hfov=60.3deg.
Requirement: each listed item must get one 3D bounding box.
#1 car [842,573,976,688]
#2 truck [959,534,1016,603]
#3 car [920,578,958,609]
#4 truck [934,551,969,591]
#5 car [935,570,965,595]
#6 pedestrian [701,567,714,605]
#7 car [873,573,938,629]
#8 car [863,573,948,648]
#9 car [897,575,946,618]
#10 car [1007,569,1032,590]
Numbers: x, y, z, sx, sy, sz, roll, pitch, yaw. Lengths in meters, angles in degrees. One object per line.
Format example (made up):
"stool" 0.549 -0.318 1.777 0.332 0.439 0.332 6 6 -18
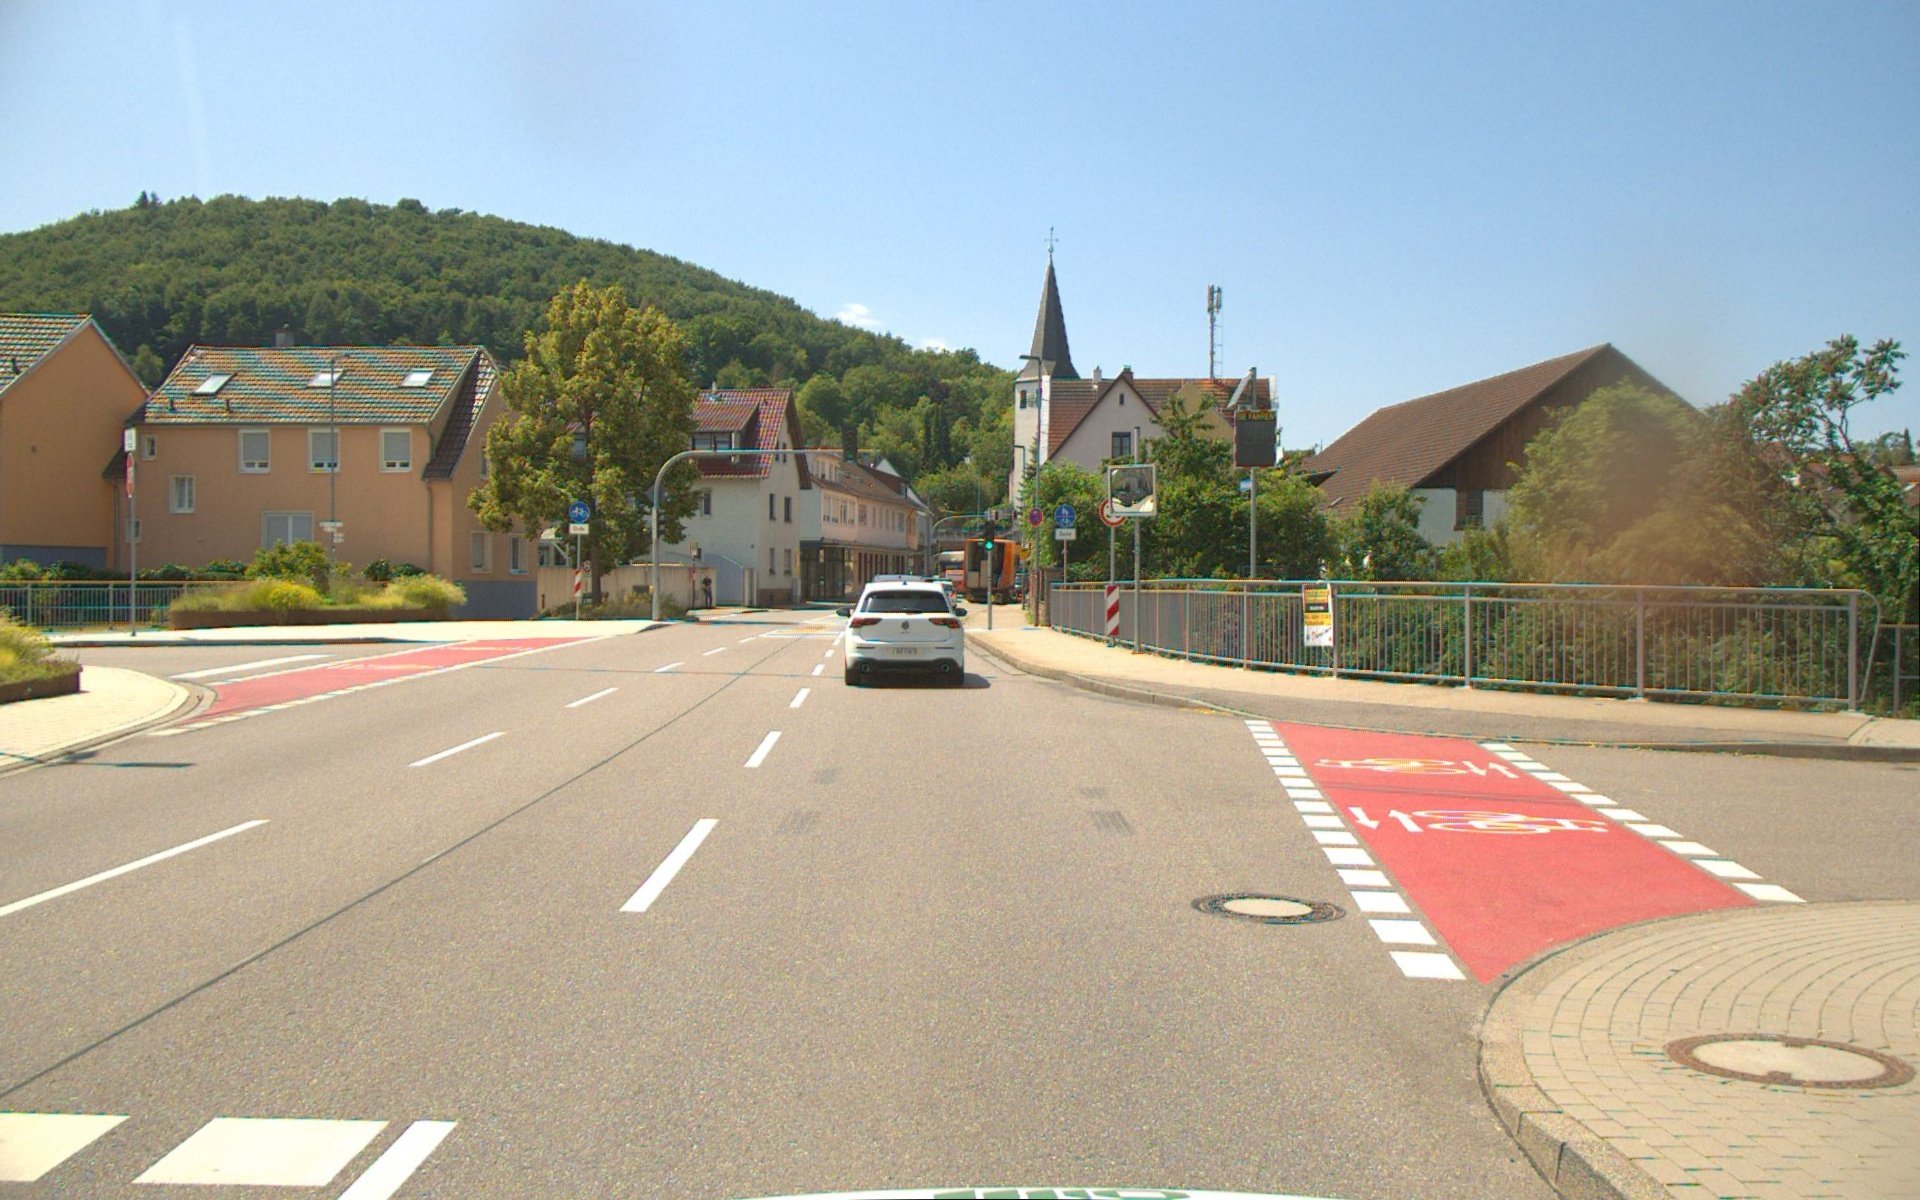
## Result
"car" -0.687 0.415 24.875 1.778 1.545 4.001 1 0 1
"truck" 1.887 -1.982 108.534 3.296 4.243 9.523 -1 0 3
"car" -1.068 -0.338 84.893 1.777 1.545 4.001 -1 0 1
"truck" -0.668 -2.391 139.251 2.449 3.292 6.043 -1 0 4
"car" -0.702 -1.201 115.687 1.952 1.735 4.313 -1 0 1
"pedestrian" -12.047 -0.667 78.960 0.425 1.795 0.557 0 1 20
"car" -1.652 0.031 51.440 1.777 1.657 4.001 -1 0 1
"car" -1.234 0.230 39.005 1.777 1.657 4.001 -1 0 1
"car" -1.501 -0.133 66.337 1.777 1.657 4.001 -1 0 1
"car" 4.447 -1.511 123.833 1.777 1.545 4.001 -1 0 1
